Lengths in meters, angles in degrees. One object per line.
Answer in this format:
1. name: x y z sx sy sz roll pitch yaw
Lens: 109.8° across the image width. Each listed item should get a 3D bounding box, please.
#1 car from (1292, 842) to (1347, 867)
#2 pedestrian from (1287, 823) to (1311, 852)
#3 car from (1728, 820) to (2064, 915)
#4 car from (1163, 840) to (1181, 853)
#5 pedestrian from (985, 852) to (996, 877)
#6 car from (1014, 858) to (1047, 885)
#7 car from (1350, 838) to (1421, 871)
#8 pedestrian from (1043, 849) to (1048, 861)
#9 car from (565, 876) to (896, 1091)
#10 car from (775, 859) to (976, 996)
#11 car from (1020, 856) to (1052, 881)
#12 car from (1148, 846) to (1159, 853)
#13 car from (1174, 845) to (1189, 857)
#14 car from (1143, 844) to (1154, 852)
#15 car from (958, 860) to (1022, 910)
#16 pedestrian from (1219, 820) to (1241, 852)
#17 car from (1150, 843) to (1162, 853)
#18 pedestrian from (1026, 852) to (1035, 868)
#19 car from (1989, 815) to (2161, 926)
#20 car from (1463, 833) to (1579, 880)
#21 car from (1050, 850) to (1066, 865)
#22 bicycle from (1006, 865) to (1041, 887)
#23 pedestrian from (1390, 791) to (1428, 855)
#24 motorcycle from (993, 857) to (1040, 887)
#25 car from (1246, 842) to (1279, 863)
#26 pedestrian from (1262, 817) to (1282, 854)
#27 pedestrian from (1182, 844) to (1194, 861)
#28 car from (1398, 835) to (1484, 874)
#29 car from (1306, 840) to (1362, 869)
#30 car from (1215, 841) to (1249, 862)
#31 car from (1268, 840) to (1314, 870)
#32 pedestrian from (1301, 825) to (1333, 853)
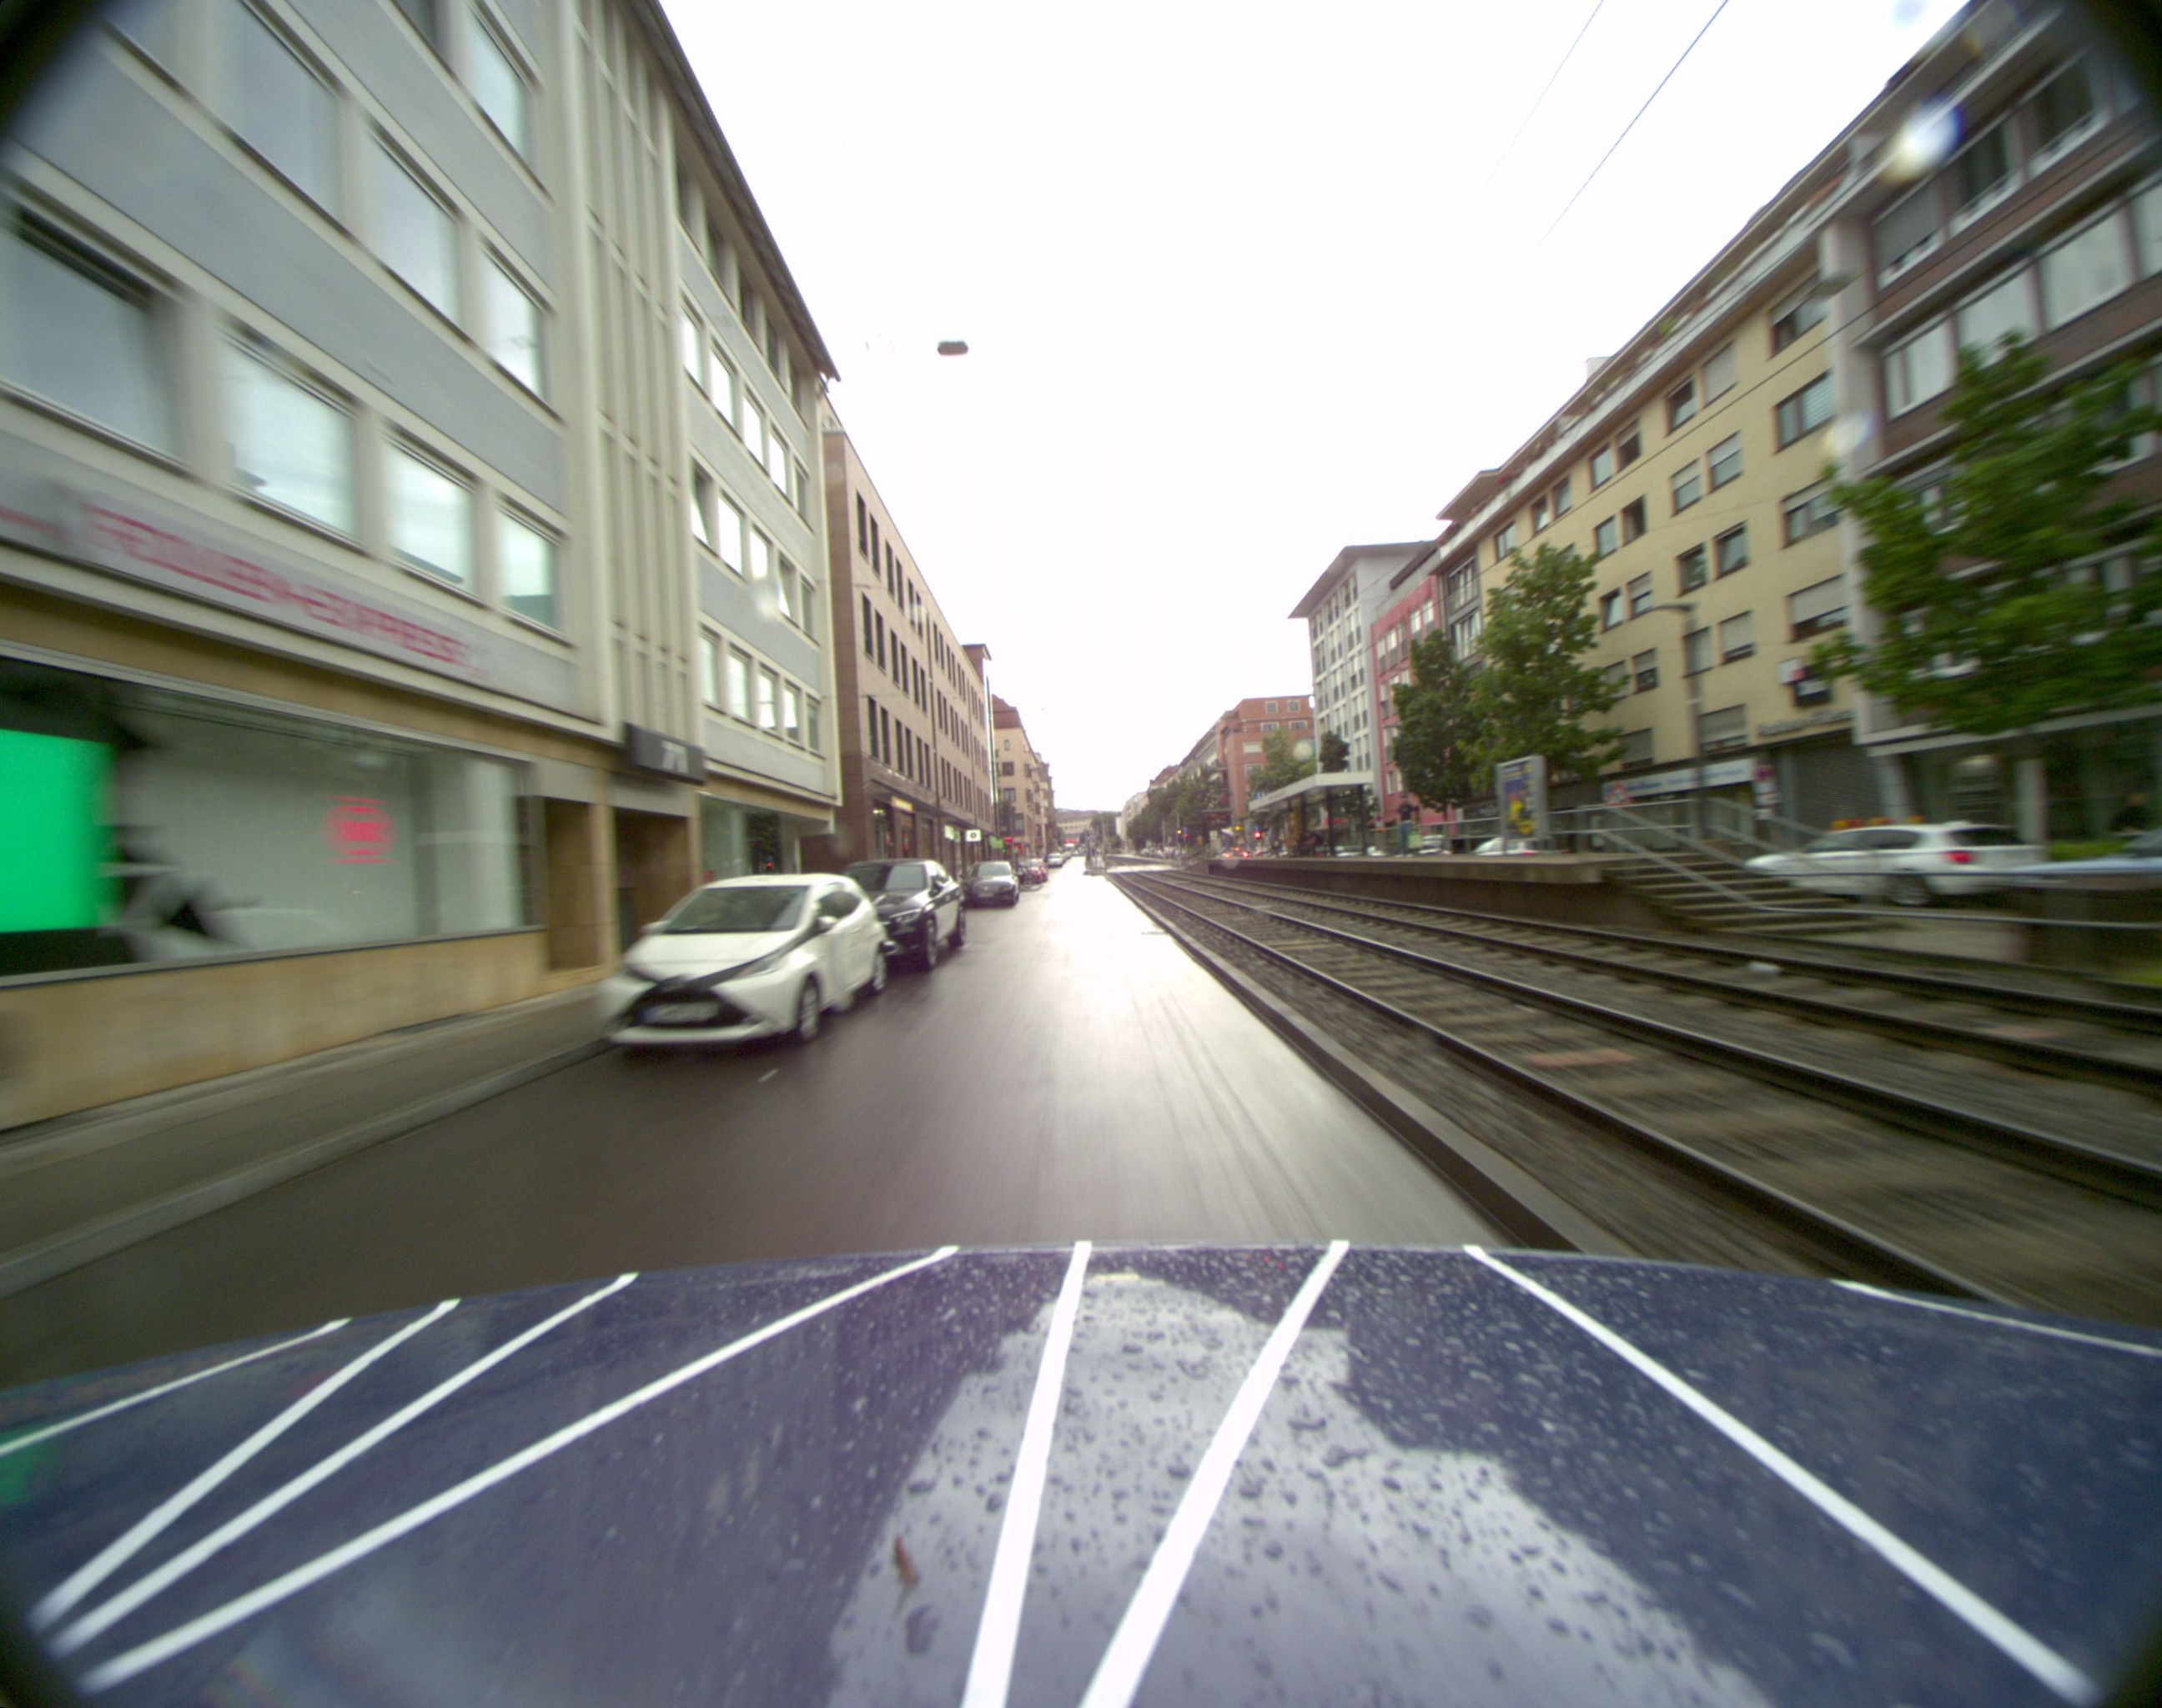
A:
1. car: 14.757 0.014 47.221 1.846 1.428 4.318 -3 0 -3
2. pedestrian: 9.608 -0.703 33.498 0.694 1.242 0.884 -3 1 -2
3. car: 14.739 0.203 14.163 1.572 1.428 4.237 -3 0 -3
4. car: 14.616 -1.218 122.619 1.912 1.834 5.255 -3 1 -4
5. pedestrian: -6.066 0.706 51.063 0.603 1.650 0.625 -2 1 0
6. car: -2.954 0.990 44.957 1.703 1.454 3.866 -1 1 0
7. car: 14.800 0.009 37.200 1.678 1.428 3.978 -3 0 -3
8. pedestrian: -5.409 0.156 115.877 0.530 1.848 0.556 -3 1 -7
9. car: -3.136 1.057 7.640 1.561 1.468 3.565 -3 0 1
10. car: -2.995 0.963 12.367 1.812 1.622 5.168 -3 0 0
11. car: -2.907 0.925 49.448 1.703 1.471 3.867 -1 1 2
12. car: 14.313 -0.904 150.800 1.643 1.432 4.728 -3 1 -1
13. car: 14.565 -0.471 110.254 1.643 1.614 4.370 -3 1 1
14. car: 14.442 -1.214 162.459 1.662 1.575 4.337 -3 1 -1
15. car: -3.052 0.991 26.413 1.779 1.460 4.608 -3 0 -2
16. pedestrian: 9.812 -1.187 50.076 1.119 2.002 1.383 -2 1 0
17. car: 14.306 -1.163 145.307 1.678 1.807 4.431 -3 1 -1
18. pedestrian: -5.737 0.686 86.285 0.665 1.809 0.597 -1 2 41
19. car: 14.818 0.193 9.600 1.572 1.428 4.176 -3 0 -3
20. car: 14.750 0.070 25.701 1.572 1.428 3.735 -3 0 -3
21. car: -2.949 0.407 98.423 1.911 1.796 4.775 -3 1 -2
22. bicycle: -3.009 1.159 40.006 1.791 1.025 0.462 -2 1 -1
23. pedestrian: 9.552 -0.889 22.172 0.657 1.791 0.850 -3 1 -2
24. motorcycle: -3.145 0.881 37.085 2.086 1.399 0.800 -2 1 18
25. car: 14.929 -0.149 62.759 1.730 1.602 4.553 -3 0 1
26. pedestrian: 8.999 -0.864 35.776 0.657 1.701 0.850 -3 1 -2
27. pedestrian: 11.016 -0.171 78.380 0.821 1.687 0.985 -5 1 -8
28. car: 14.577 0.023 30.992 1.572 1.428 3.735 -3 0 -3
29. car: 13.919 0.013 42.014 1.572 1.428 3.978 -3 0 -3
30. car: 12.177 -0.180 61.638 1.811 1.569 5.020 -3 0 1
31. car: 14.401 0.050 52.341 1.807 1.847 4.379 -3 0 -2
32. pedestrian: 9.666 -0.615 31.150 0.895 1.117 0.849 -3 1 -10
